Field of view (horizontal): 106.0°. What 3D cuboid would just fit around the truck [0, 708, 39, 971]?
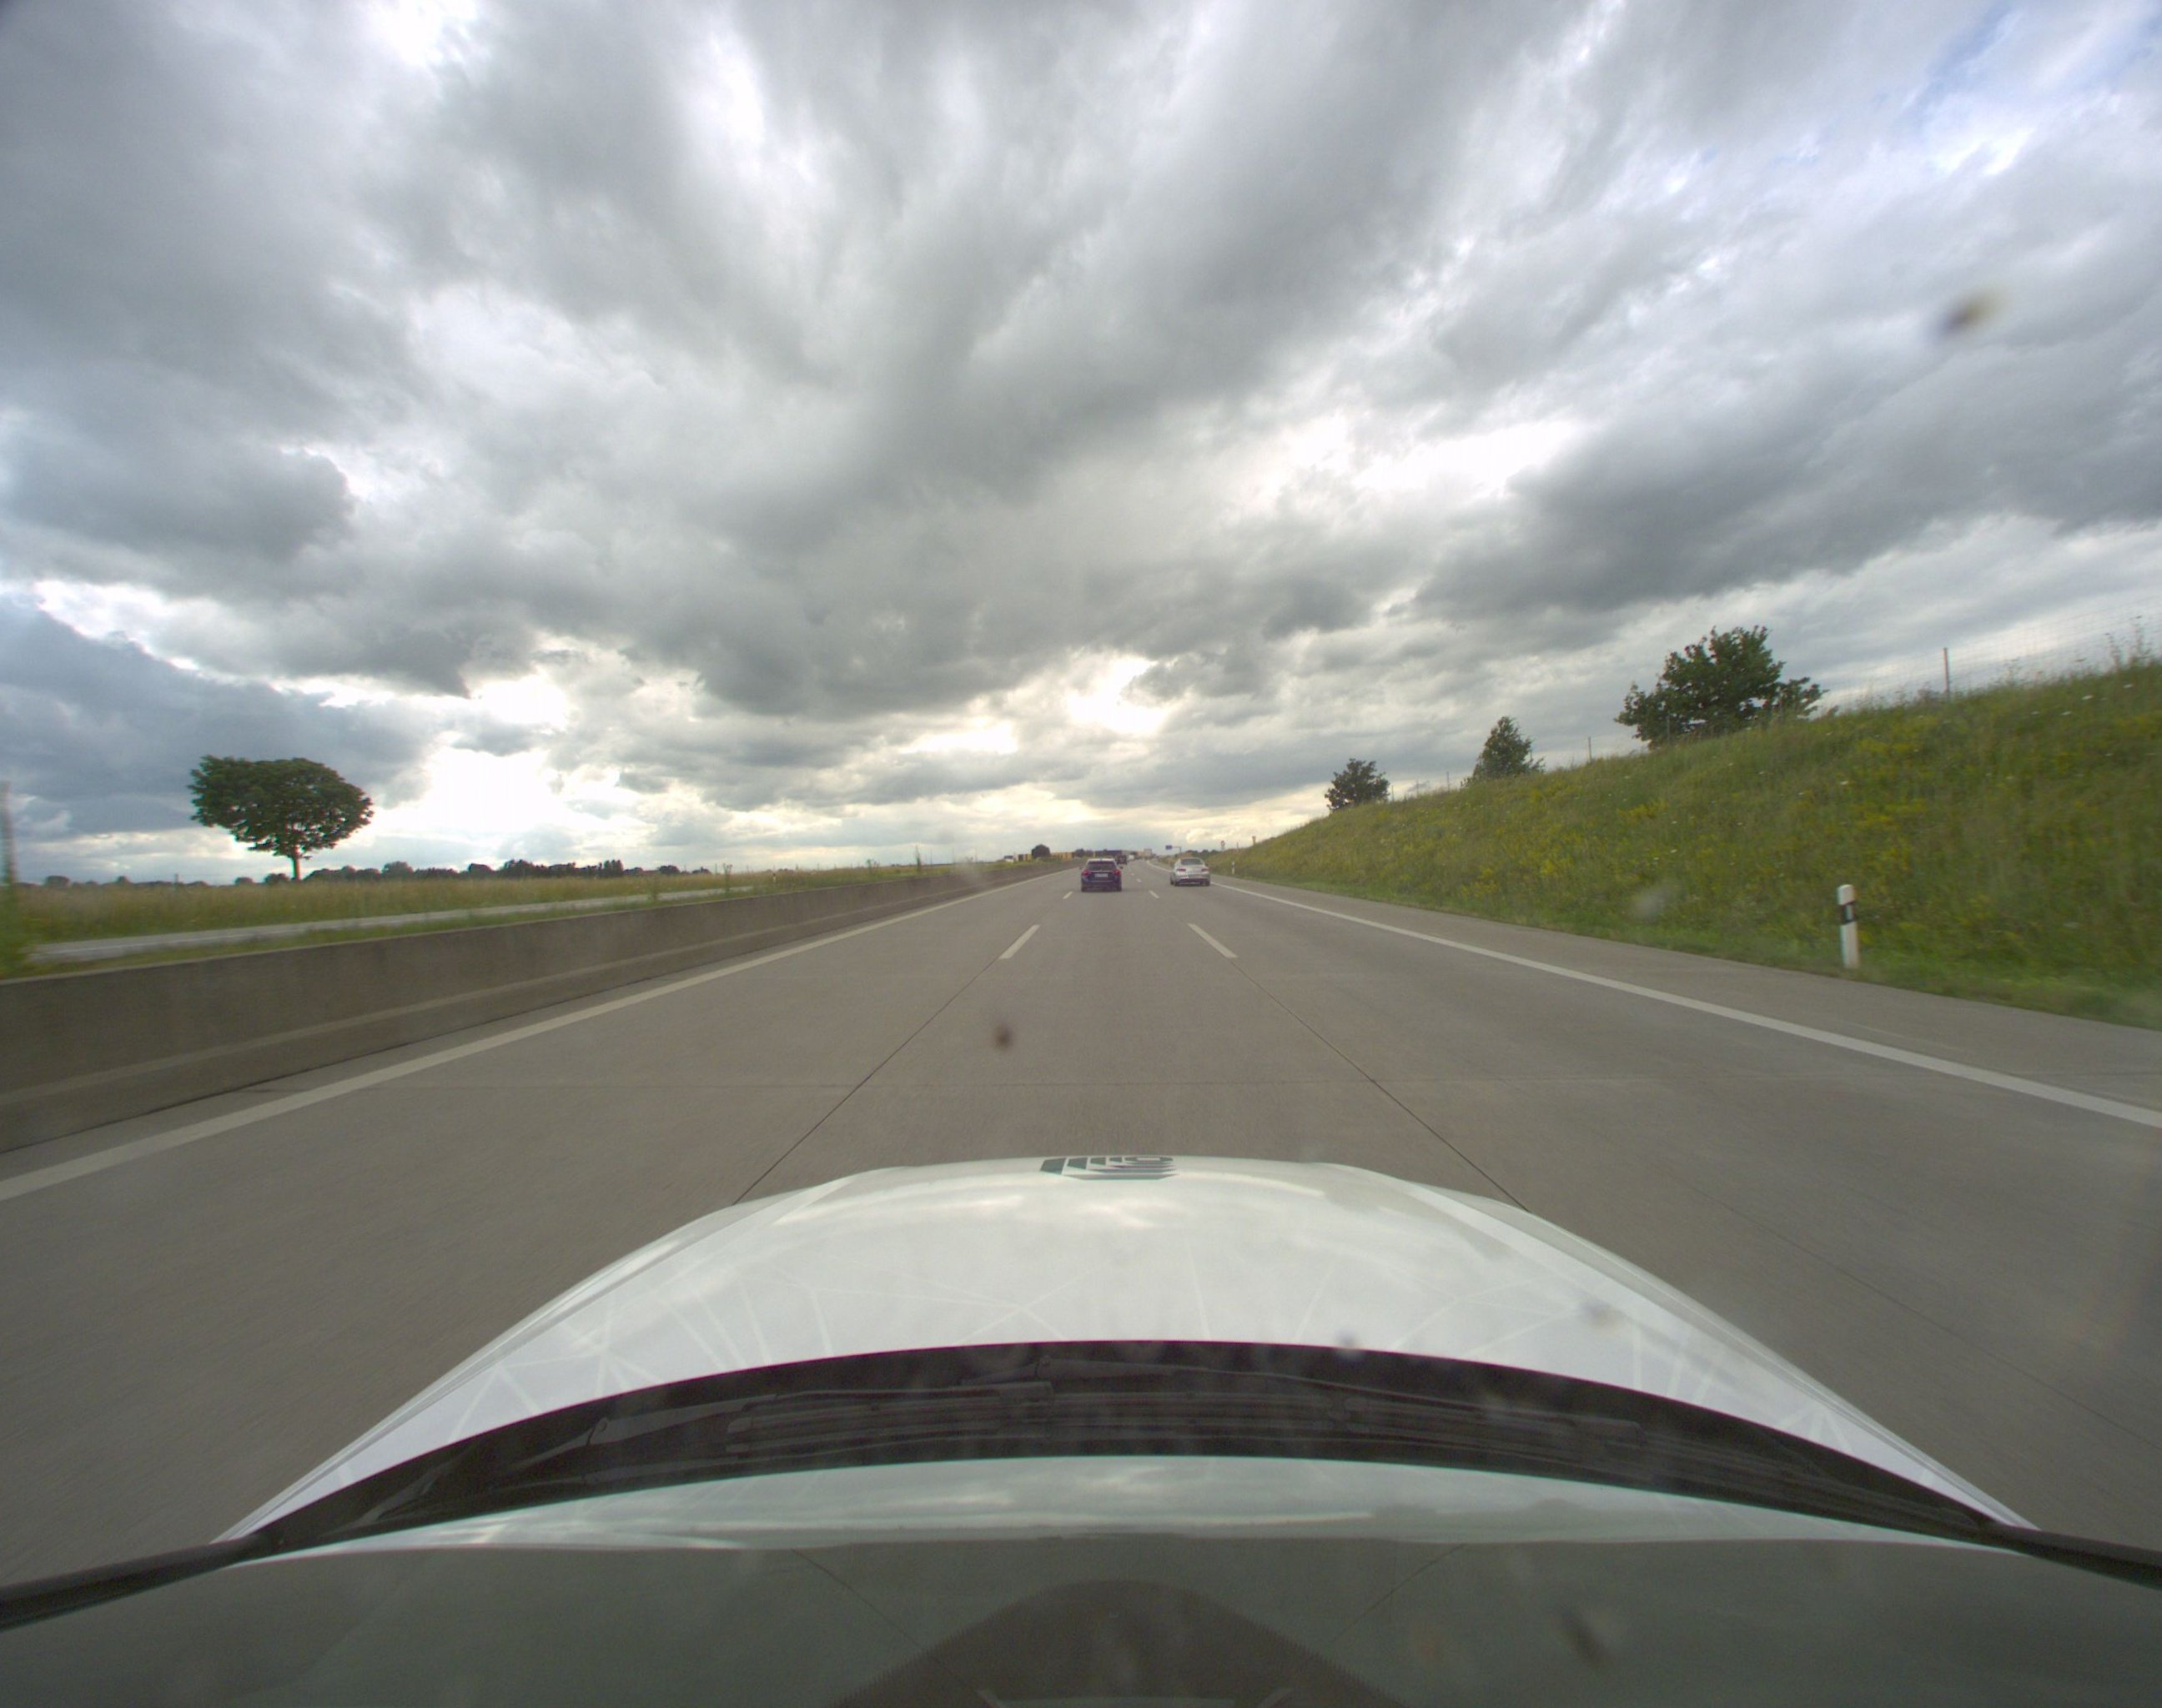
[{"bbox_3d":[-19.136,-0.352,6.369,2.830,4.256,14.570,0,-1,2],"label":"truck"}]

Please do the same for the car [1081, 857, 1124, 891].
[{"bbox_3d":[0.970,0.887,36.497,1.768,1.413,4.001,-1,-1,2],"label":"car"}]

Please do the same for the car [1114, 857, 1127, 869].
[{"bbox_3d":[7.080,1.605,145.906,1.988,2.014,3.998,0,-1,-1],"label":"car"}]

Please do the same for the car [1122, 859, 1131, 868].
[{"bbox_3d":[11.200,2.291,199.401,1.984,2.014,4.005,0,0,5],"label":"car"}]

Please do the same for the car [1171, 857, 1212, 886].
[{"bbox_3d":[5.630,0.871,42.014,1.781,1.403,4.225,-1,-1,3],"label":"car"}]

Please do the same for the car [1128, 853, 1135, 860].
[{"bbox_3d":[15.401,0.664,246.832,1.985,2.014,4.004,-1,-1,4],"label":"car"}]

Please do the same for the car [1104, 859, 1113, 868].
[{"bbox_3d":[6.358,2.139,189.663,2.039,2.014,4.001,0,-1,1],"label":"car"}]

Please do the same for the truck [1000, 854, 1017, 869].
[{"bbox_3d":[-13.189,1.421,148.245,2.136,2.567,7.452,0,-1,3],"label":"truck"}]
